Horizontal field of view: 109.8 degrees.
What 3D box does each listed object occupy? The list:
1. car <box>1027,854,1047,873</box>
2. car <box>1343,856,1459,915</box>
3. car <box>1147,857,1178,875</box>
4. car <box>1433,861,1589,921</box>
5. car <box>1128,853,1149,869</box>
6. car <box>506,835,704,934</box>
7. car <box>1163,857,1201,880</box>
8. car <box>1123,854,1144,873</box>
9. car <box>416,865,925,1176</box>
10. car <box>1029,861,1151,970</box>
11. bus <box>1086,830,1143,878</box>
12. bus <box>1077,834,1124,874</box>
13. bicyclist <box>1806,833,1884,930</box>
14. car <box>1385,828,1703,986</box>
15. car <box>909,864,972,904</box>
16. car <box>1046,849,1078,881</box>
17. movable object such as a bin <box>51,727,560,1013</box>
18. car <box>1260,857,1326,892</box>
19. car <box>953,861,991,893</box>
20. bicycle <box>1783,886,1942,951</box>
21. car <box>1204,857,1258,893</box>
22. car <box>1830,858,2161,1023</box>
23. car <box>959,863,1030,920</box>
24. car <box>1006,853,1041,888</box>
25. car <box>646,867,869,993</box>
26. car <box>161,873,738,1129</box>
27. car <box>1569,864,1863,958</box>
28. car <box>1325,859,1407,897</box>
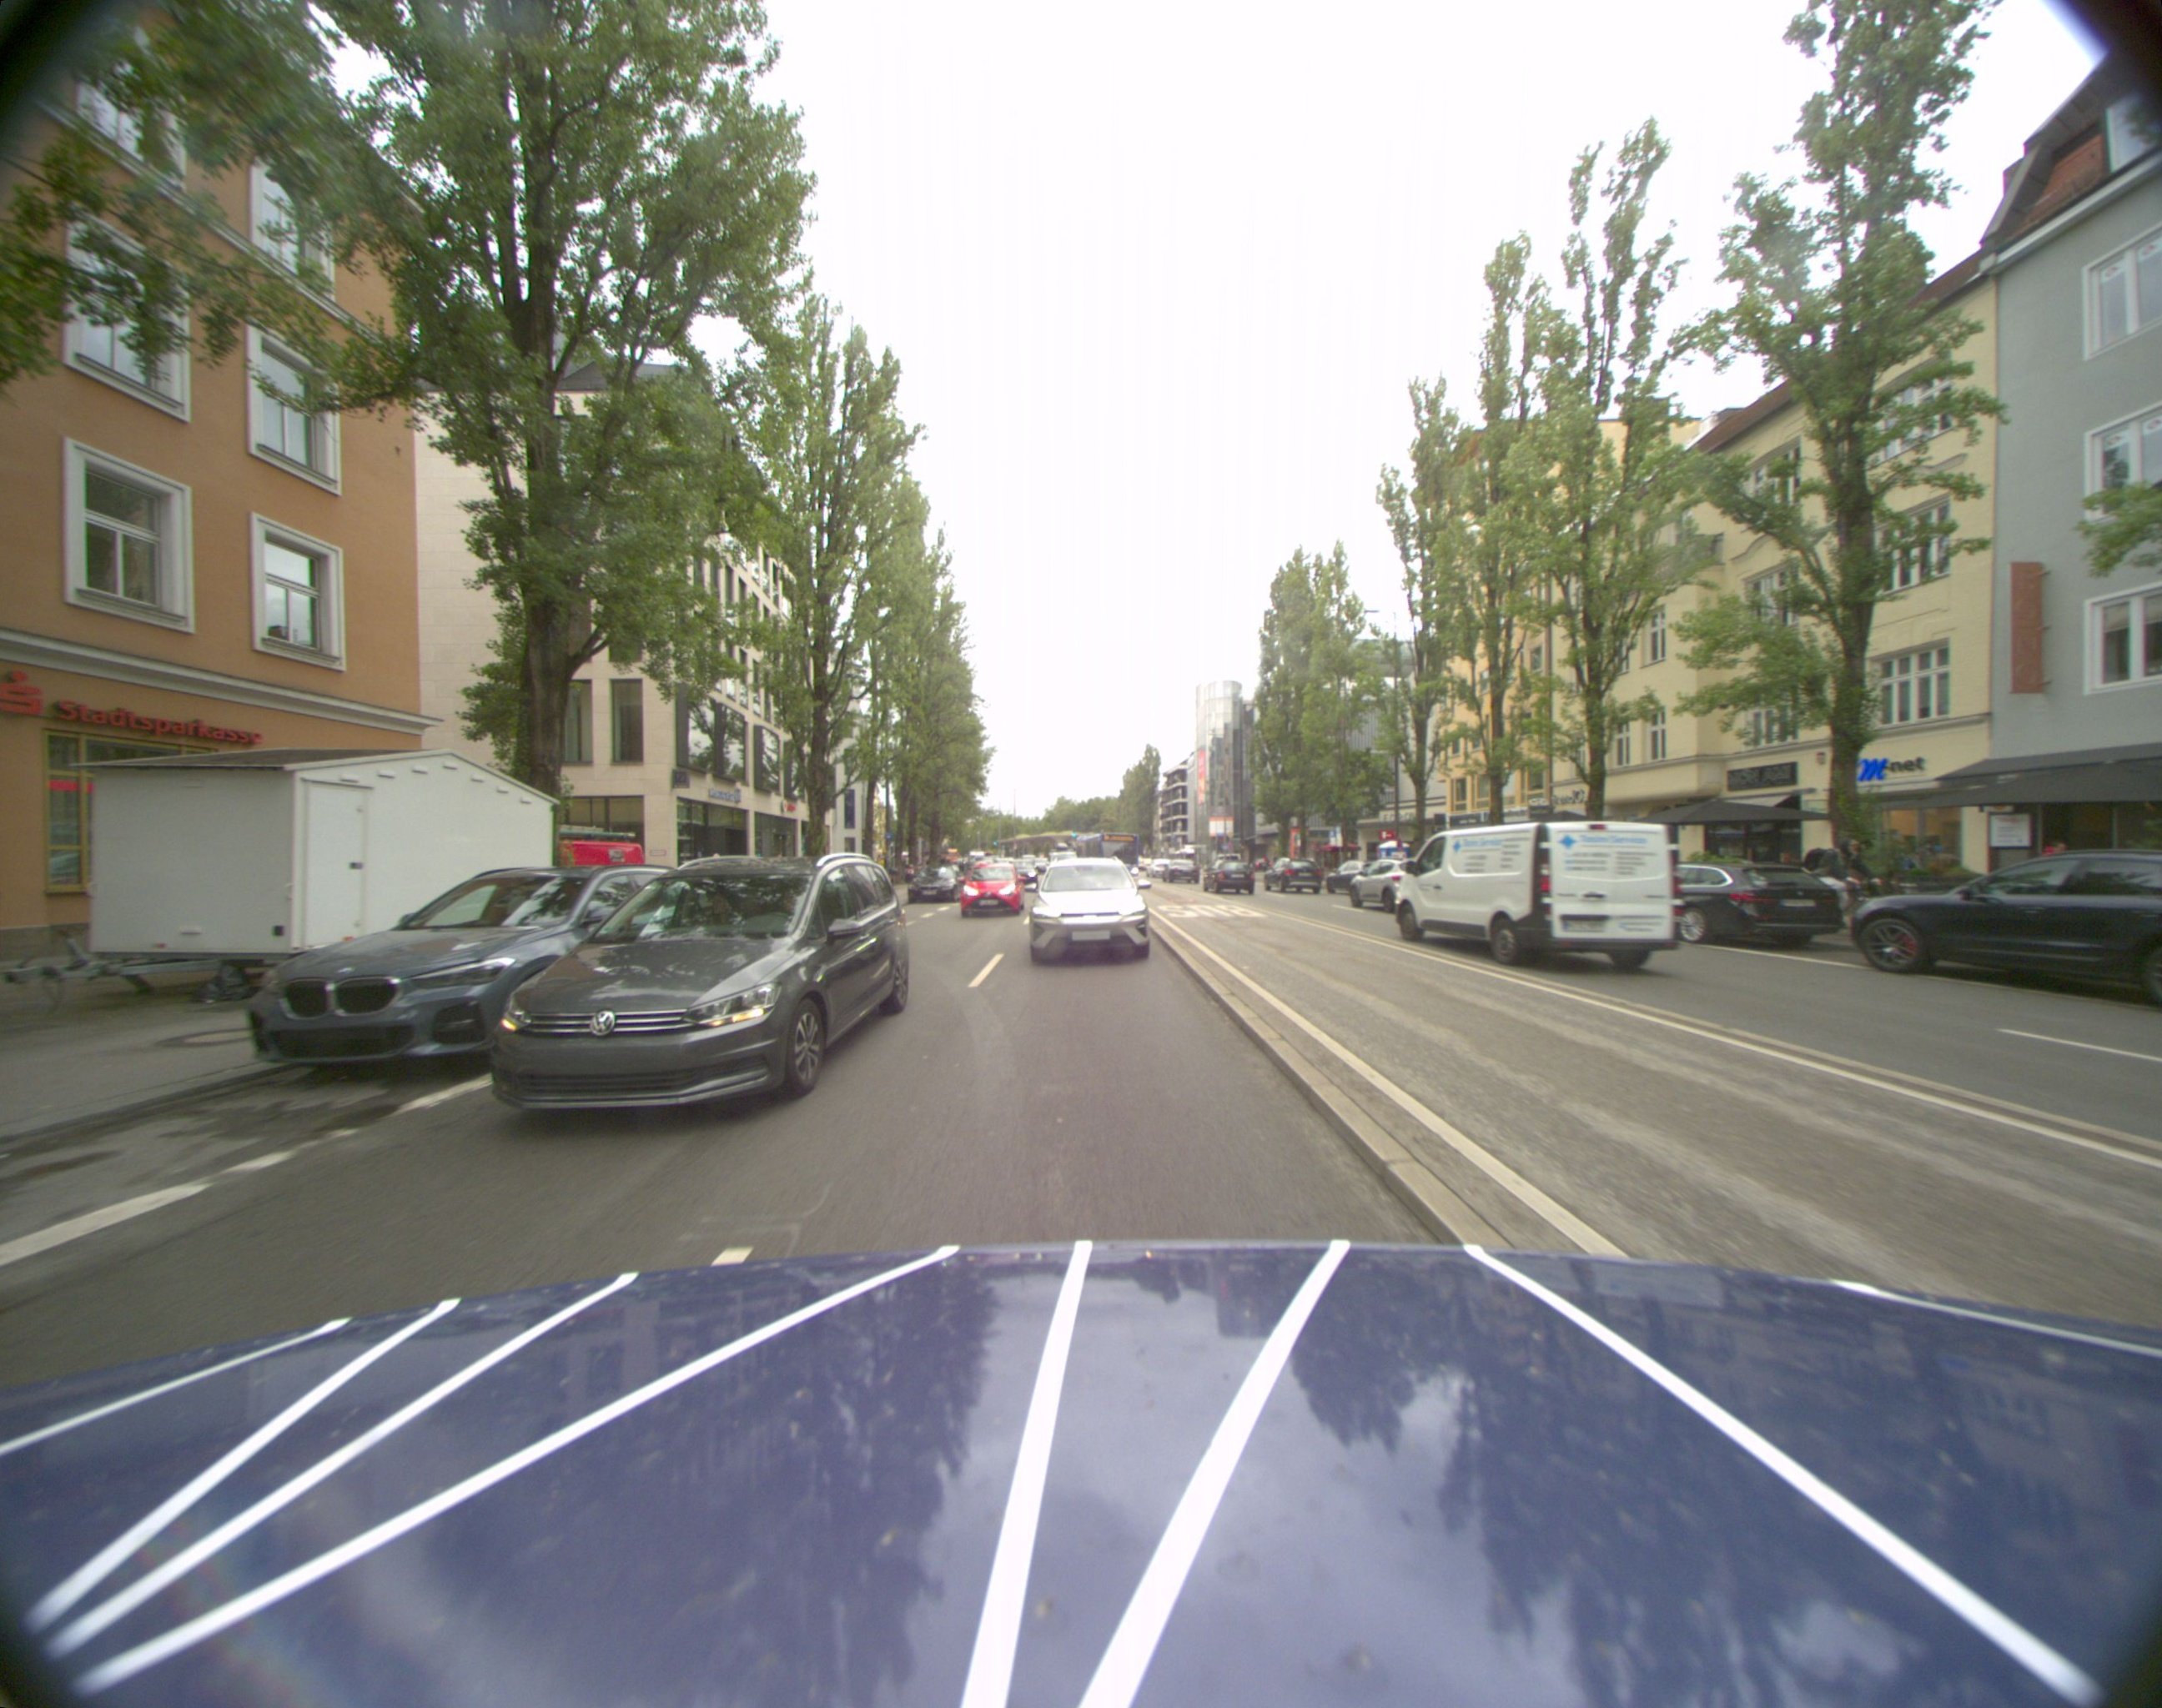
[{"bbox_3d":[-4.104,0.832,70.453,1.707,1.683,4.001,-2,0,-5],"label":"car"},{"bbox_3d":[9.269,0.858,22.392,1.718,1.532,4.076,1,0,1],"label":"car"},{"bbox_3d":[6.517,0.944,61.303,1.782,1.391,4.081,0,0,-4],"label":"car"},{"bbox_3d":[11.768,0.938,21.216,1.802,1.432,4.574,0,0,1],"label":"car"},{"bbox_3d":[6.133,0.719,81.294,1.863,1.606,4.363,0,0,0],"label":"car"},{"bbox_3d":[-11.206,0.652,18.272,1.682,2.110,4.004,-1,0,12],"label":"car"},{"bbox_3d":[6.315,0.891,47.886,1.781,1.391,4.363,0,0,0],"label":"car"},{"bbox_3d":[5.951,1.062,86.807,1.999,2.002,3.999,-1,0,-3],"label":"car"},{"bbox_3d":[-2.675,0.945,6.261,1.882,1.582,4.192,-2,0,0],"label":"car"},{"bbox_3d":[0.126,0.934,13.261,1.742,1.510,4.033,-2,0,0],"label":"car"},{"bbox_3d":[2.137,0.003,52.450,2.697,2.932,10.047,-1,0,-4],"label":"bus"},{"bbox_3d":[1.434,-0.022,61.523,2.691,2.932,10.047,-1,0,-4],"label":"bus"},{"bbox_3d":[13.836,0.481,13.782,0.606,1.695,0.816,-1,1,1],"label":"bicyclist"},{"bbox_3d":[6.666,0.648,11.825,1.897,1.921,5.071,0,0,1],"label":"car"},{"bbox_3d":[-5.441,1.122,29.914,1.700,1.352,4.003,-2,0,0],"label":"car"},{"bbox_3d":[-1.147,0.637,47.322,1.839,1.831,5.129,-2,1,0],"label":"car"},{"bbox_3d":[-10.093,0.177,10.632,2.446,3.119,4.543,1,0,1],"label":"movable object such as a bin"},{"bbox_3d":[9.609,0.888,34.758,1.750,1.509,4.363,0,0,0],"label":"car"},{"bbox_3d":[-5.807,1.189,40.841,1.701,1.507,3.998,-2,1,-5],"label":"car"},{"bbox_3d":[13.841,1.111,13.565,0.613,0.963,2.174,-1,0,1],"label":"bicycle"},{"bbox_3d":[6.384,0.864,32.684,1.616,1.432,3.596,0,0,0],"label":"car"},{"bbox_3d":[11.534,0.859,8.513,1.802,1.603,4.574,0,0,1],"label":"car"},{"bbox_3d":[-2.452,1.017,22.354,1.616,1.425,4.003,-2,0,0],"label":"car"},{"bbox_3d":[-3.095,0.828,40.259,1.707,1.683,4.001,-2,0,-5],"label":"car"},{"bbox_3d":[-5.110,1.089,12.777,1.789,1.604,4.498,-2,0,0],"label":"car"},{"bbox_3d":[-5.246,1.047,7.347,1.789,1.544,4.498,-2,0,0],"label":"car"},{"bbox_3d":[11.649,0.943,14.476,1.802,1.432,4.574,0,0,1],"label":"car"},{"bbox_3d":[11.889,0.947,32.009,1.802,1.432,4.574,0,0,1],"label":"car"}]
